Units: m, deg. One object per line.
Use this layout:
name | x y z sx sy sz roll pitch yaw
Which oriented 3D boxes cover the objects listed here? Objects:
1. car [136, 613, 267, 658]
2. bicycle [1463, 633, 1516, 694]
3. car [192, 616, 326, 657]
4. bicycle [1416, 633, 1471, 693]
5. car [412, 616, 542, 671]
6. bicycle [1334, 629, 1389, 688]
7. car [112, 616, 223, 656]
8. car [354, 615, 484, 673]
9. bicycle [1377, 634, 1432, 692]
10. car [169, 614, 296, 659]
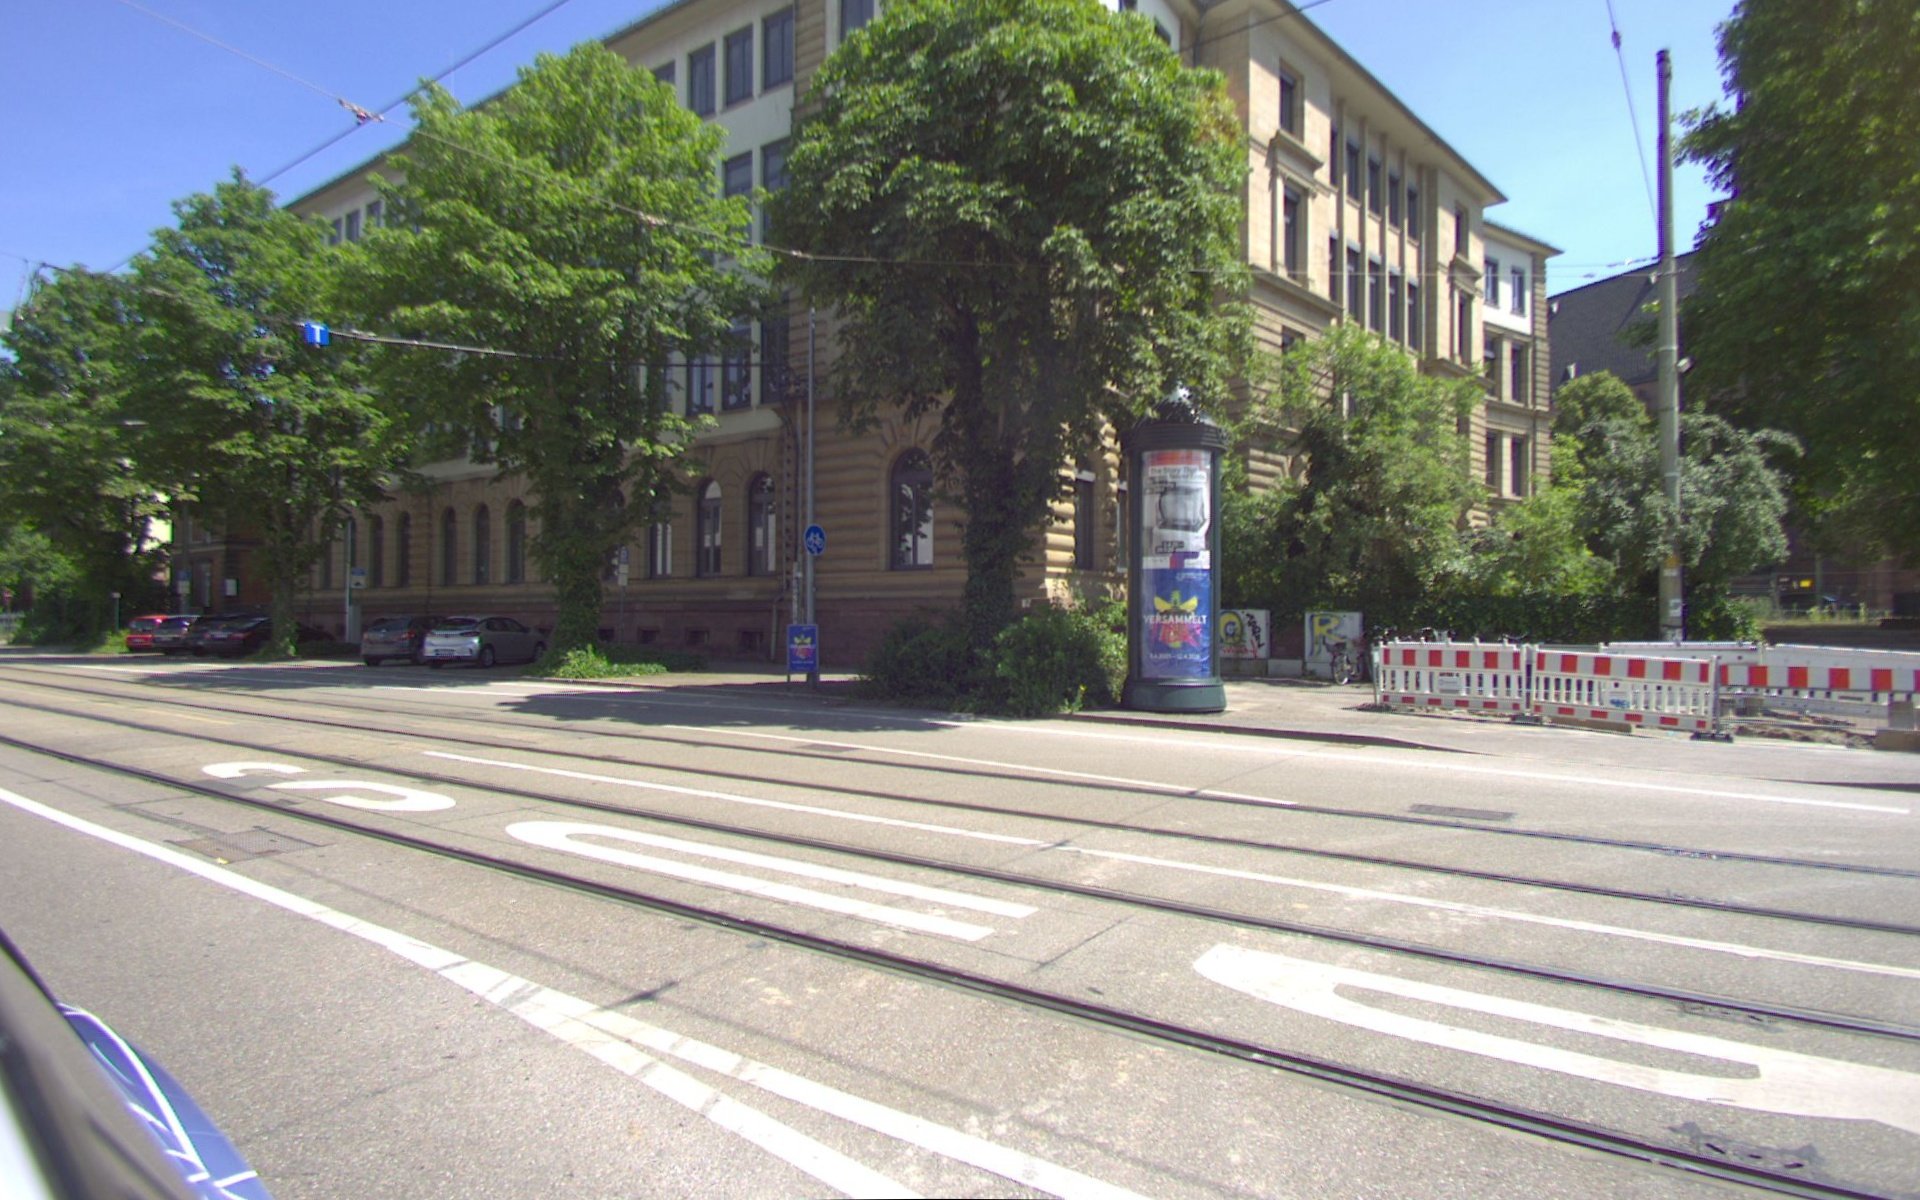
car | -29.428 1.350 39.456 1.648 1.596 4.315 0 0 5
bicycle | 10.215 1.201 19.494 0.504 1.111 1.714 -1 -2 42
car | -24.677 1.275 35.793 1.650 1.385 3.923 0 -2 9
bicycle | 9.597 1.226 20.056 0.504 1.111 1.714 -1 -2 42
car | -13.479 1.180 28.461 1.681 1.416 3.542 0 -1 6
bicycle | 8.403 1.198 21.156 0.463 1.156 1.663 0 -1 45
car | -32.198 1.424 41.227 1.650 1.527 3.343 0 0 9
car | -15.930 1.250 30.007 1.649 1.531 3.670 0 0 6
bicycle | 9.037 1.256 20.560 0.504 1.111 1.714 -1 -2 42
car | -27.005 1.355 37.741 1.771 1.589 3.812 0 -1 5
